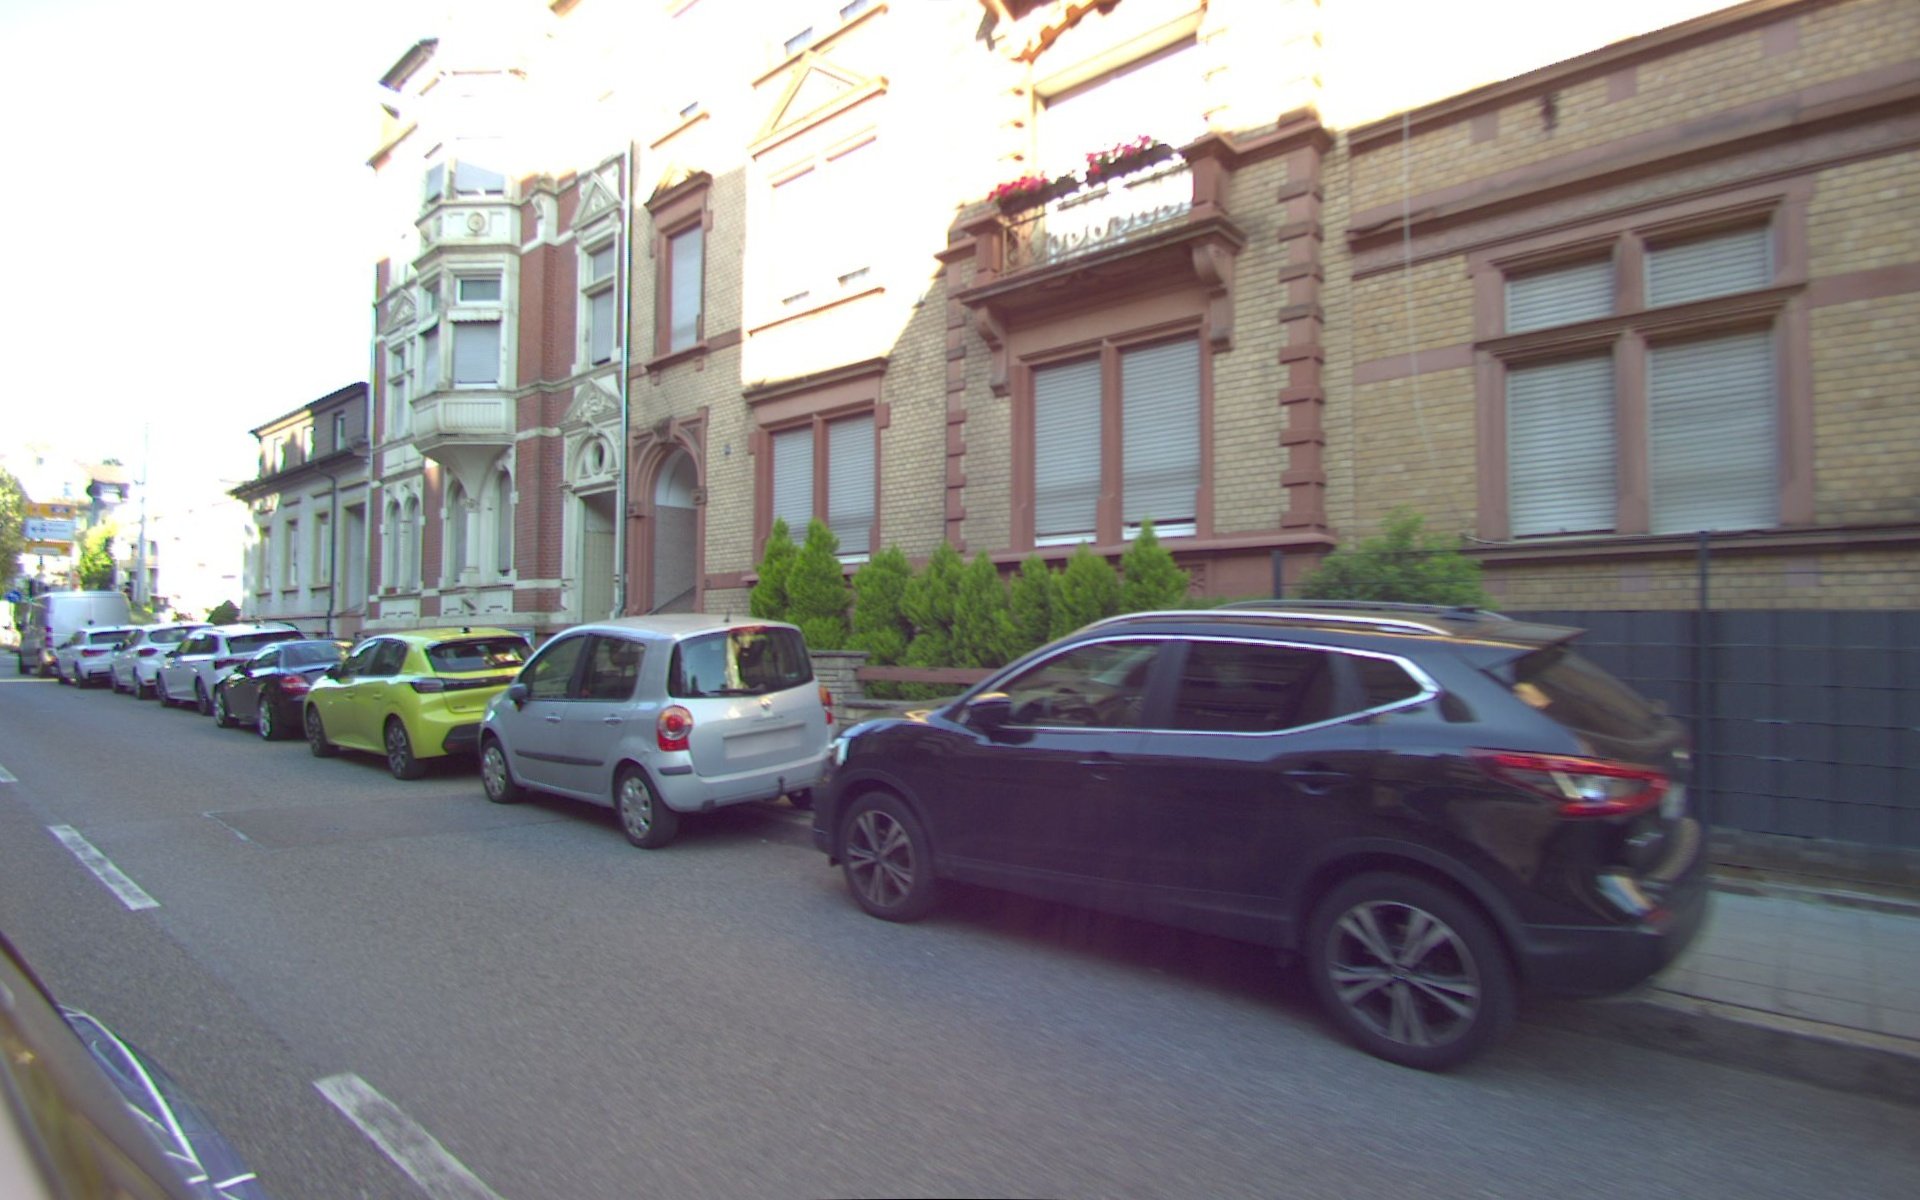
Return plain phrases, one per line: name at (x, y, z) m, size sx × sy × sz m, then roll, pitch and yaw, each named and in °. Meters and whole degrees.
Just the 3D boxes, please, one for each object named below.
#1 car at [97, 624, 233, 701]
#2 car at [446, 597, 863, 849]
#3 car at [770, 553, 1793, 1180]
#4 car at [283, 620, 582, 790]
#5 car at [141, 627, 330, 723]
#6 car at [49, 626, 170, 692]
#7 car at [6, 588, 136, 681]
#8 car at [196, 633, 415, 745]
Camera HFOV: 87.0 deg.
car at (-17.457, 1.312, 22.159) m, size 4.020 × 1.514 × 1.684 m, roll -2°, pitch -2°, yaw 42°
car at (-2.628, 0.827, 8.275) m, size 3.635 × 1.596 × 1.684 m, roll -2°, pitch -2°, yaw 43°
car at (1.113, 0.789, 4.920) m, size 4.439 × 1.721 × 1.684 m, roll -2°, pitch -2°, yaw 42°
car at (-6.066, 1.015, 11.426) m, size 4.072 × 1.514 × 1.684 m, roll 0°, pitch -1°, yaw 42°
car at (-13.290, 1.281, 18.458) m, size 4.544 × 1.548 × 1.685 m, roll -2°, pitch -2°, yaw 39°
car at (-21.175, 1.417, 25.147) m, size 3.820 × 1.514 × 1.685 m, roll -2°, pitch -2°, yaw 40°
car at (-26.289, 1.010, 29.851) m, size 6.010 × 2.479 × 2.047 m, roll -2°, pitch -2°, yaw 41°
car at (-9.523, 1.181, 14.626) m, size 3.858 × 1.377 × 1.684 m, roll -2°, pitch -2°, yaw 41°
